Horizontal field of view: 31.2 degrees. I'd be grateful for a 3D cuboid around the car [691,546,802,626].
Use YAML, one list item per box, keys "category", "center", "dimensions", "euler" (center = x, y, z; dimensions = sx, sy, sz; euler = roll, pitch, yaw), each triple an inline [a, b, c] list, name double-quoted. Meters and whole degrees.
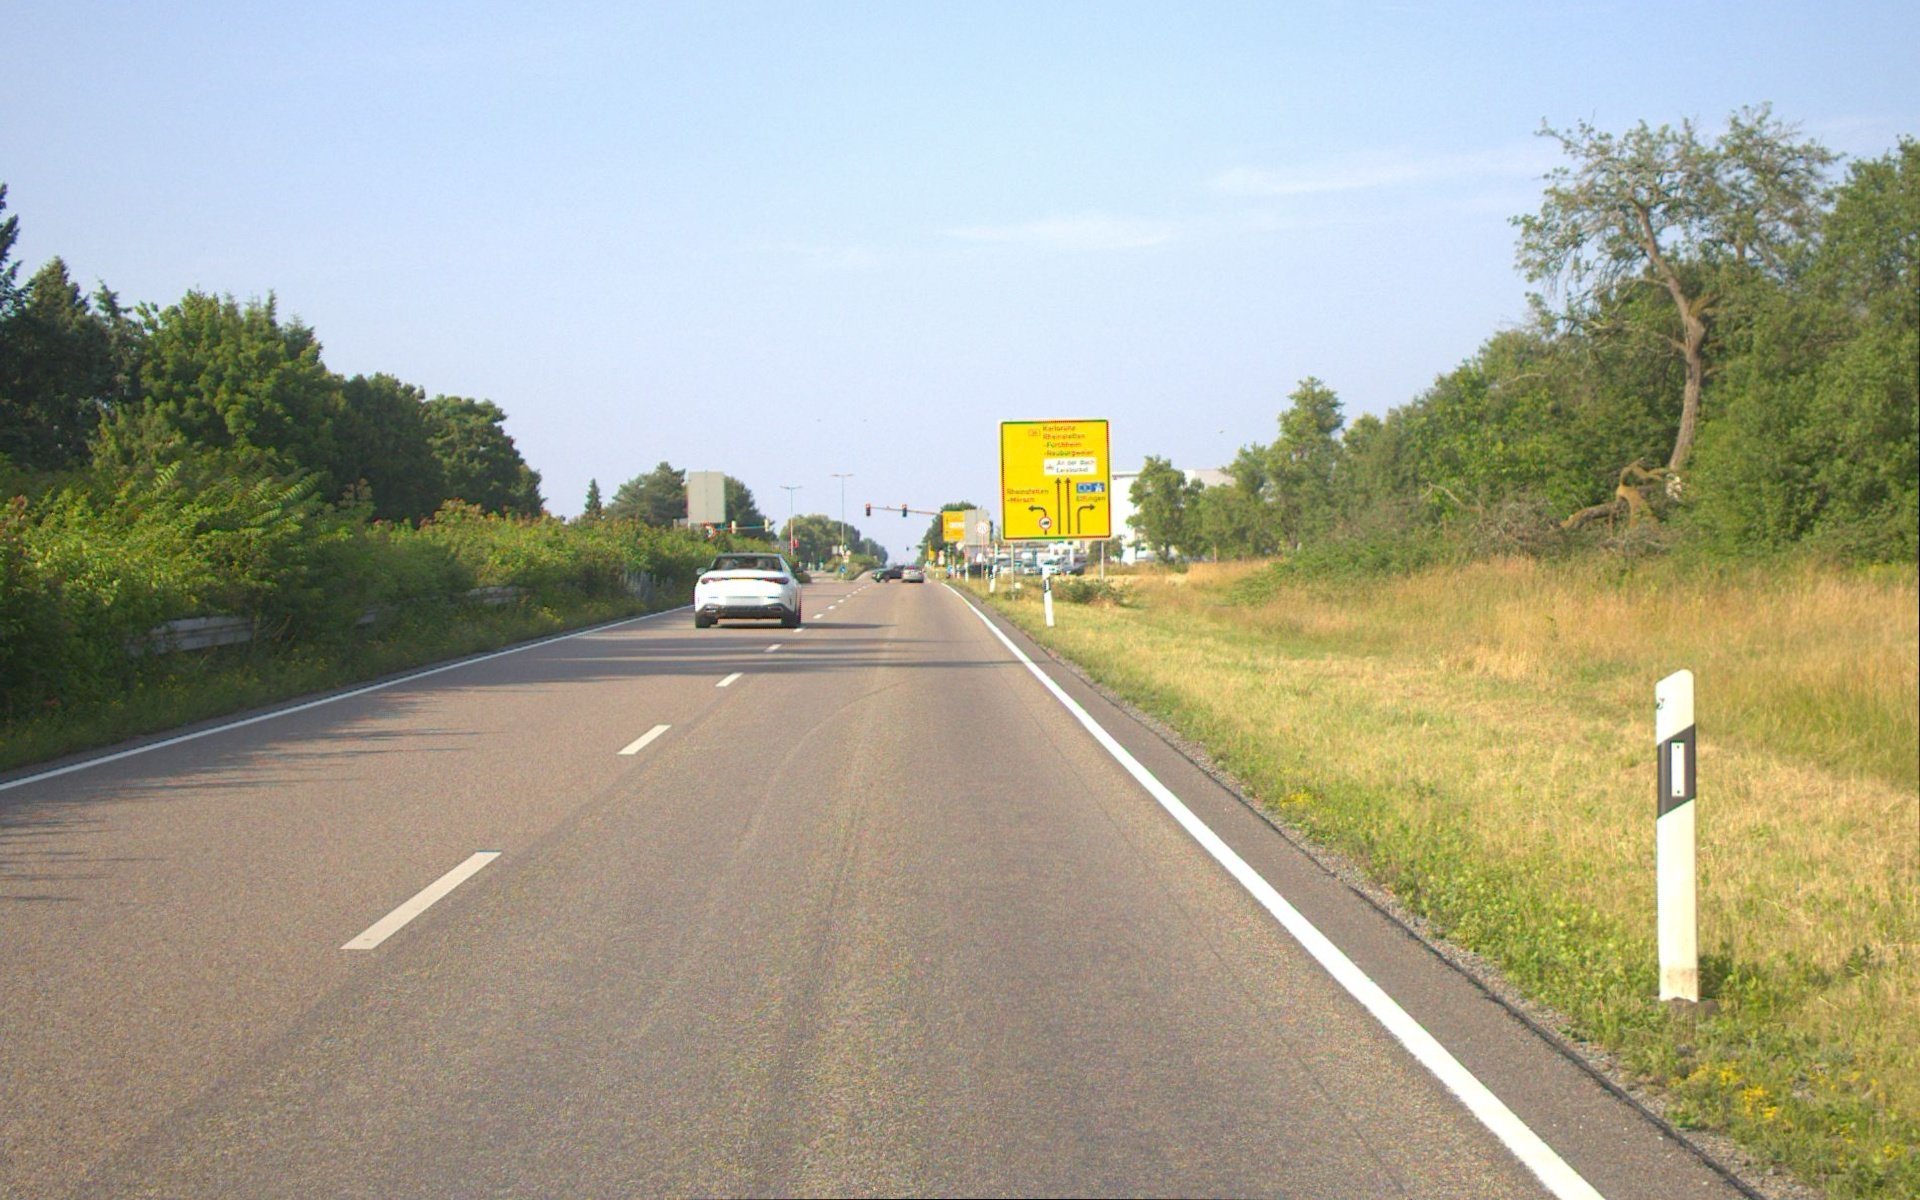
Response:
- category: "car"
  center: [-3.923, -0.274, 63.690]
  dimensions: [1.909, 1.417, 4.000]
  euler: [0, 1, -1]
